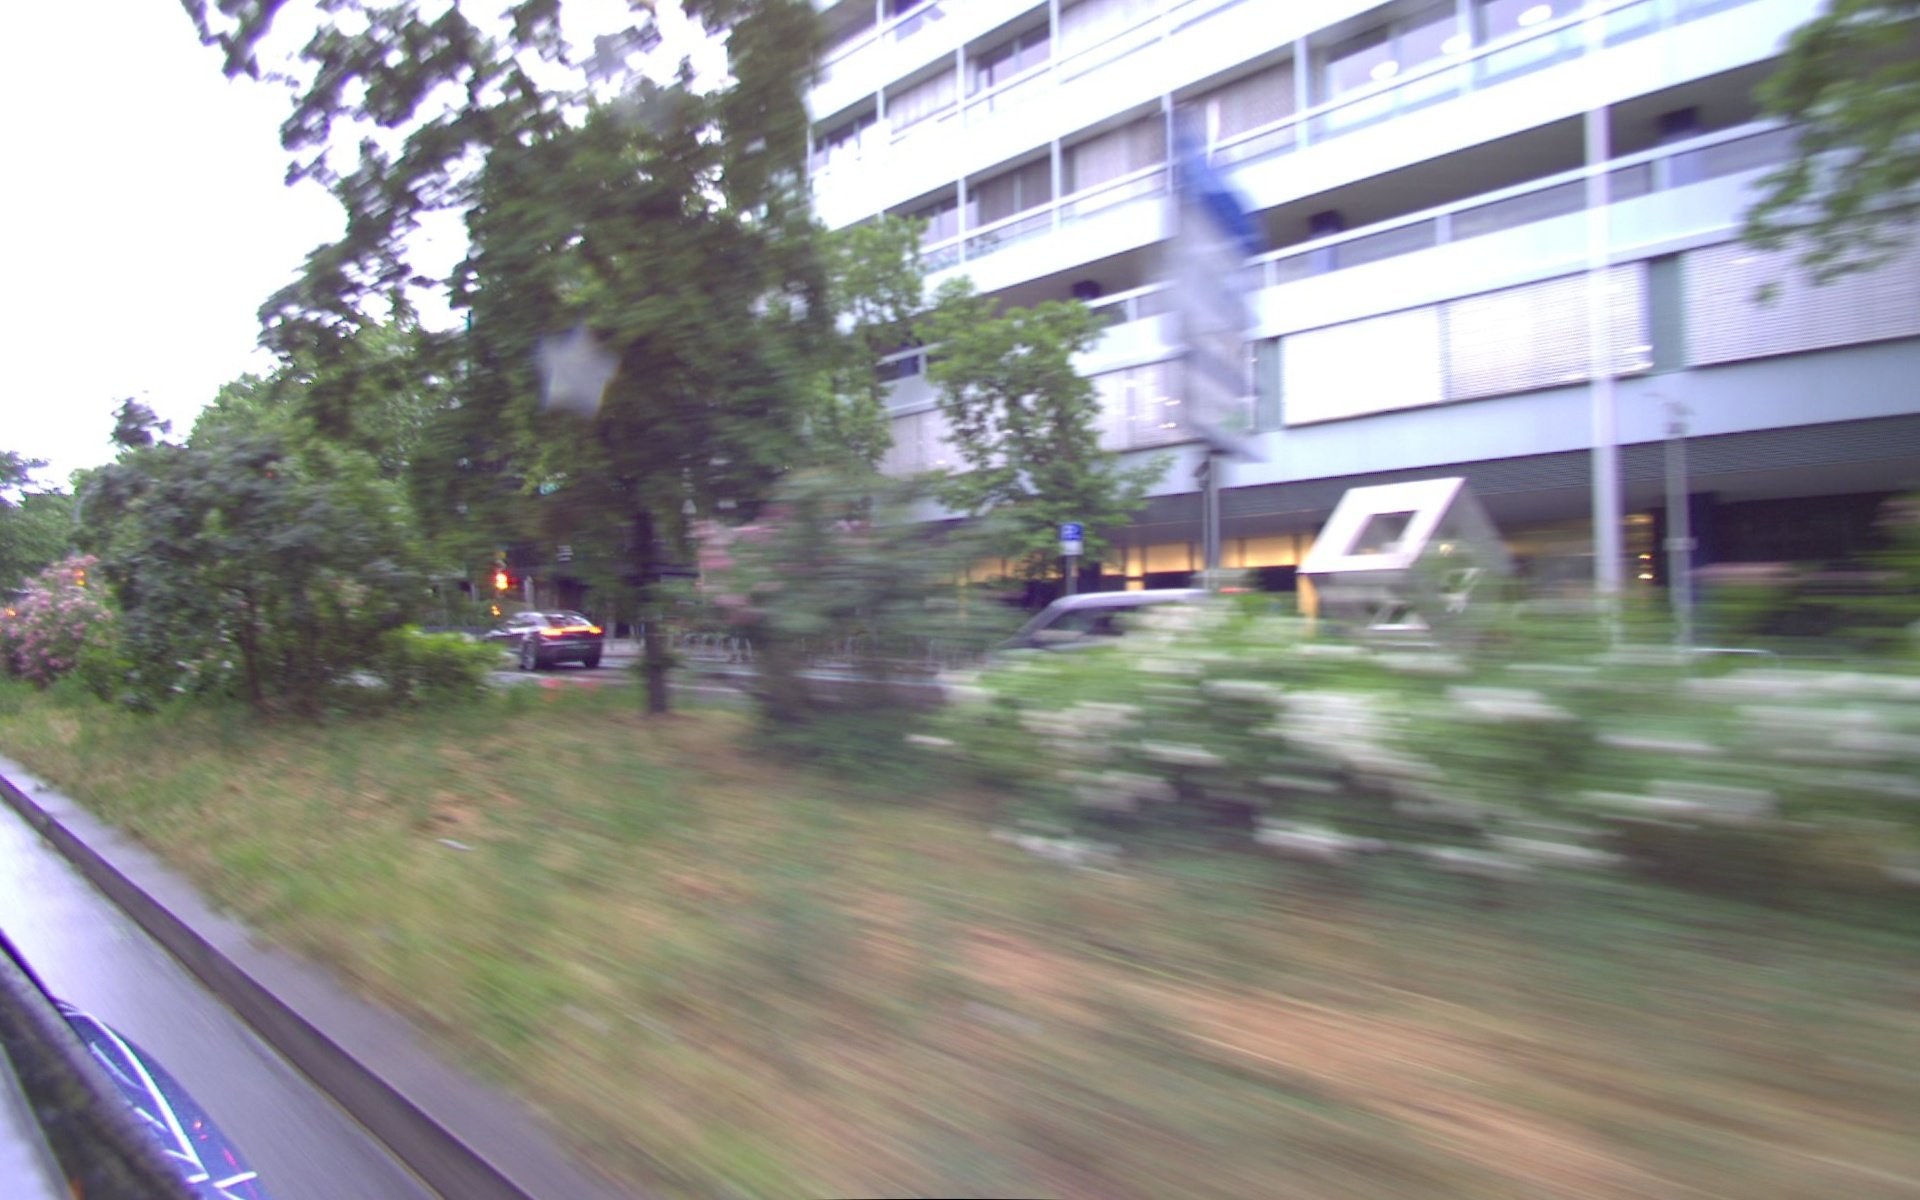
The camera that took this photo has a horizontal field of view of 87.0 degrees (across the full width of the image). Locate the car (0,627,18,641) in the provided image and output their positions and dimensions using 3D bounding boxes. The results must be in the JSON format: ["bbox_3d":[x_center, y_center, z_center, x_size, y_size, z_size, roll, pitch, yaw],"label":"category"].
[{"bbox_3d":[-111.358,3.947,117.976,3.725,1.586,1.759,-1,1,39],"label":"car"}]

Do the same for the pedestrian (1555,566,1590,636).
[{"bbox_3d":[13.298,0.024,21.954,0.574,1.493,0.604,-1,1,38],"label":"pedestrian"}]

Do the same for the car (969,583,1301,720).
[{"bbox_3d":[2.522,0.710,15.433,4.674,1.769,1.893,-2,0,43],"label":"car"}]

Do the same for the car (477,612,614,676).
[{"bbox_3d":[-11.864,1.178,28.822,4.748,1.596,1.888,0,1,45],"label":"car"}]

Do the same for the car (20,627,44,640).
[{"bbox_3d":[-113.091,4.074,123.336,3.736,1.335,1.743,-1,1,41],"label":"car"}]
